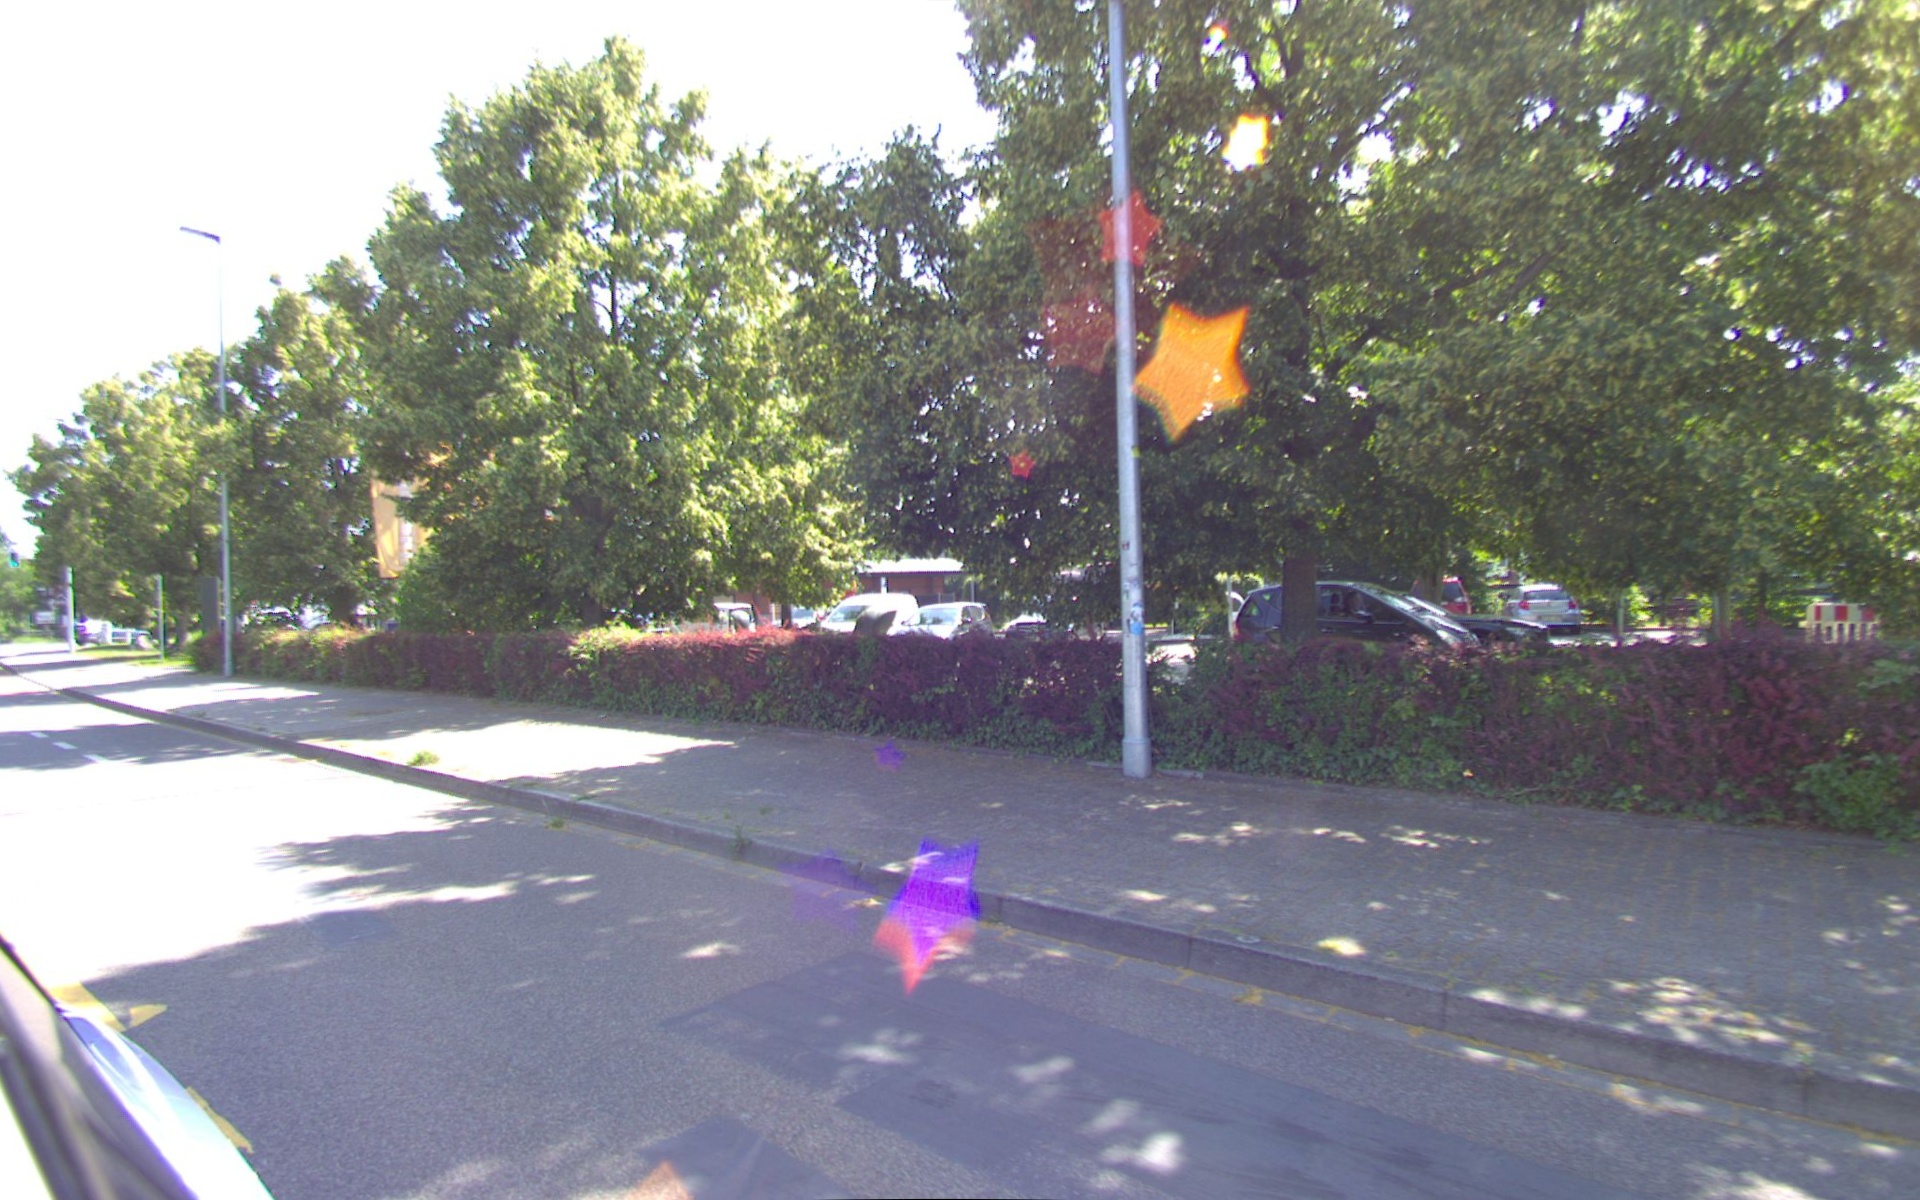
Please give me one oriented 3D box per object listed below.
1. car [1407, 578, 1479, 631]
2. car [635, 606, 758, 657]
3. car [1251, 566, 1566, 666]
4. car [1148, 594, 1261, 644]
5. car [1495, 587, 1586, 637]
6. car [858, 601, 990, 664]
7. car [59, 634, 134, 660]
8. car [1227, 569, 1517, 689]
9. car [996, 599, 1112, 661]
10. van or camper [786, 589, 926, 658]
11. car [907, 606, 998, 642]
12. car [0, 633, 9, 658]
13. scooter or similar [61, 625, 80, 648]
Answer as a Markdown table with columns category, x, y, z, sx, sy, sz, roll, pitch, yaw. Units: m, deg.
| category | x | y | z | sx | sy | sz | roll | pitch | yaw |
| --- | --- | --- | --- | --- | --- | --- | --- | --- | --- |
| car | 15.938 | 0.157 | 33.318 | 1.791 | 1.610 | 3.959 | -2 | -1 | 30 |
| car | -9.801 | 1.179 | 37.691 | 4.216 | 1.748 | 1.707 | -2 | -1 | 20 |
| car | 7.635 | 0.309 | 17.537 | 4.653 | 1.522 | 1.764 | -2 | -1 | 41 |
| car | 8.294 | 0.634 | 34.373 | 3.374 | 1.538 | 1.506 | -1 | -1 | -19 |
| car | 17.265 | 0.346 | 30.261 | 1.573 | 1.348 | 3.975 | -2 | -1 | 19 |
| car | -0.844 | 0.793 | 26.065 | 1.882 | 1.471 | 3.969 | -2 | -1 | 23 |
| car | -56.452 | 3.067 | 66.261 | 1.756 | 1.508 | 4.734 | -1 | -1 | -13 |
| car | 6.218 | 0.440 | 15.496 | 3.754 | 1.615 | 1.664 | -2 | -1 | 41 |
| car | 2.647 | 0.778 | 27.574 | 1.733 | 1.538 | 3.962 | -2 | -1 | 28 |
| van or camper | -2.796 | 0.633 | 28.179 | 1.988 | 1.753 | 4.249 | -2 | -1 | 24 |
| car | -0.291 | 0.974 | 41.052 | 3.328 | 1.386 | 1.576 | -2 | -1 | 27 |
| car | -53.686 | 2.504 | 55.239 | 1.633 | 1.391 | 4.012 | -1 | -1 | -29 |
| scooter or similar | -47.577 | 1.967 | 54.138 | 0.465 | 1.193 | 1.370 | -1 | -1 | -27 |
